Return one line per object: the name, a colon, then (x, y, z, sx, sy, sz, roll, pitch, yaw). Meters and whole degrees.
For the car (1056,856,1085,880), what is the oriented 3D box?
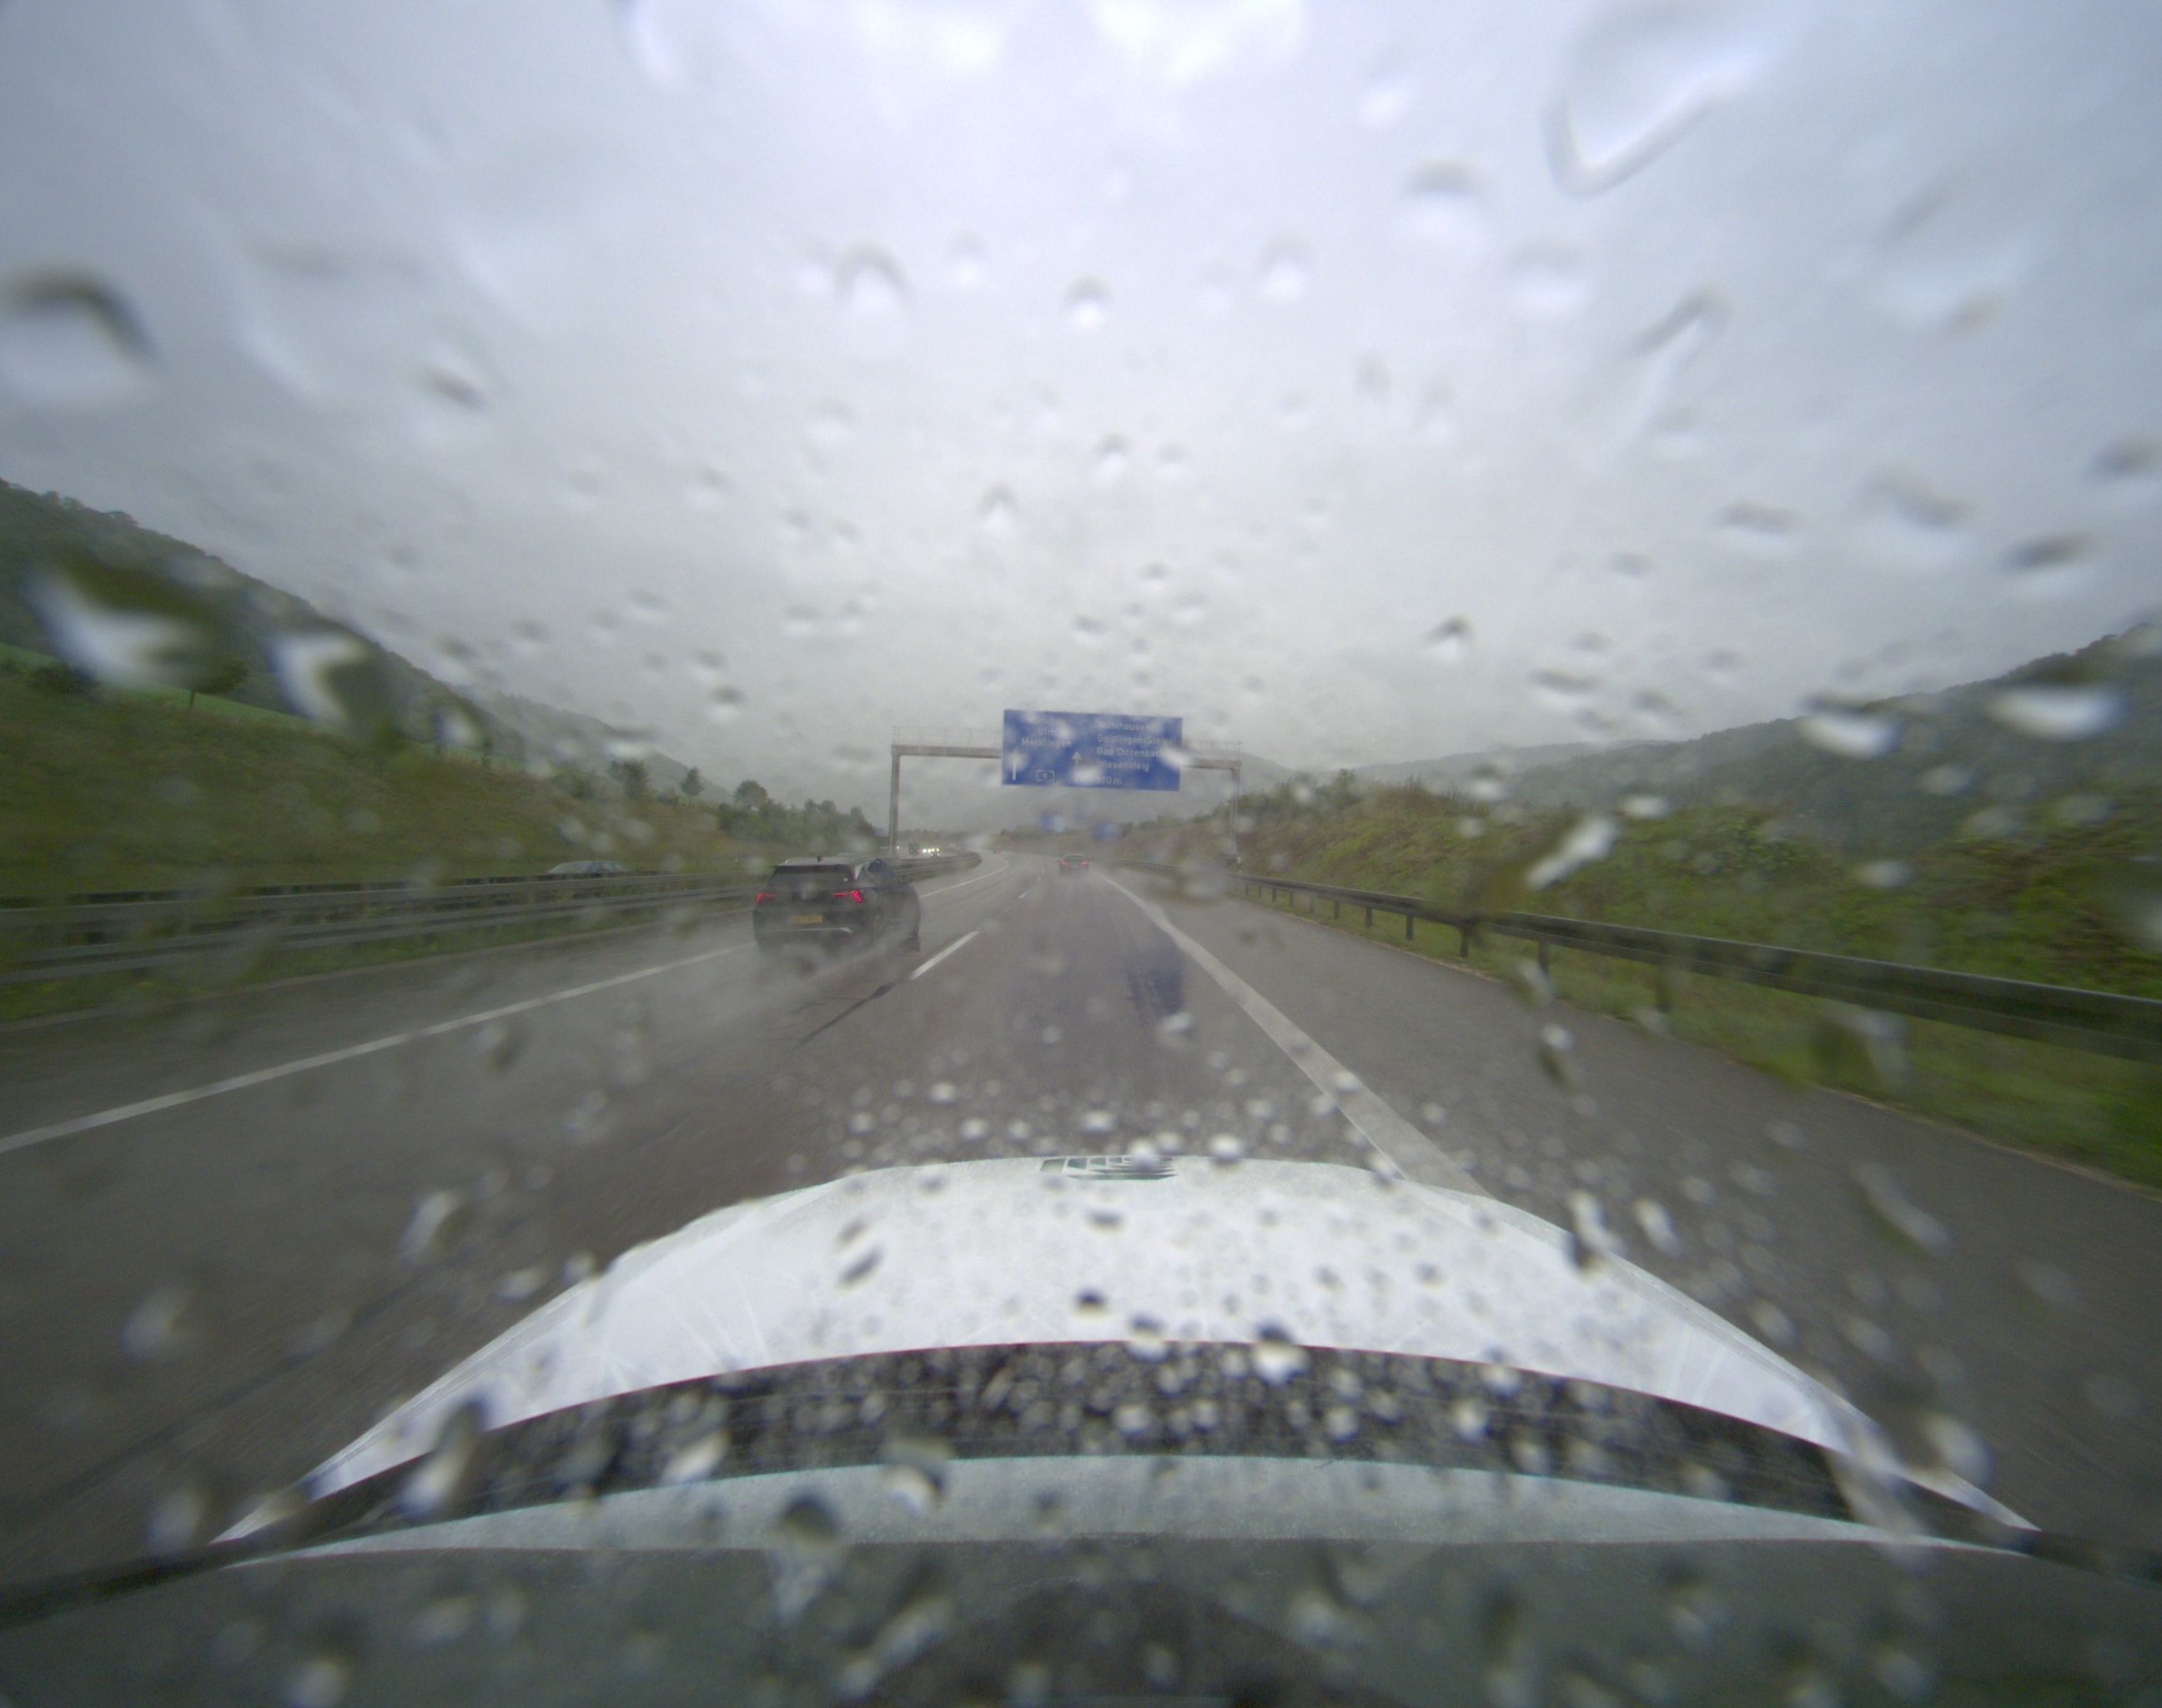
car: (-0.609, 0.847, 51.213, 1.673, 1.472, 3.815, 1, 0, 1)

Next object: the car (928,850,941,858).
car: (-30.115, -0.037, 167.657, 1.988, 1.519, 3.998, 1, 0, -1)

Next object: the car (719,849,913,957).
car: (-4.219, 0.693, 13.911, 2.405, 1.515, 4.769, 0, 0, -9)
